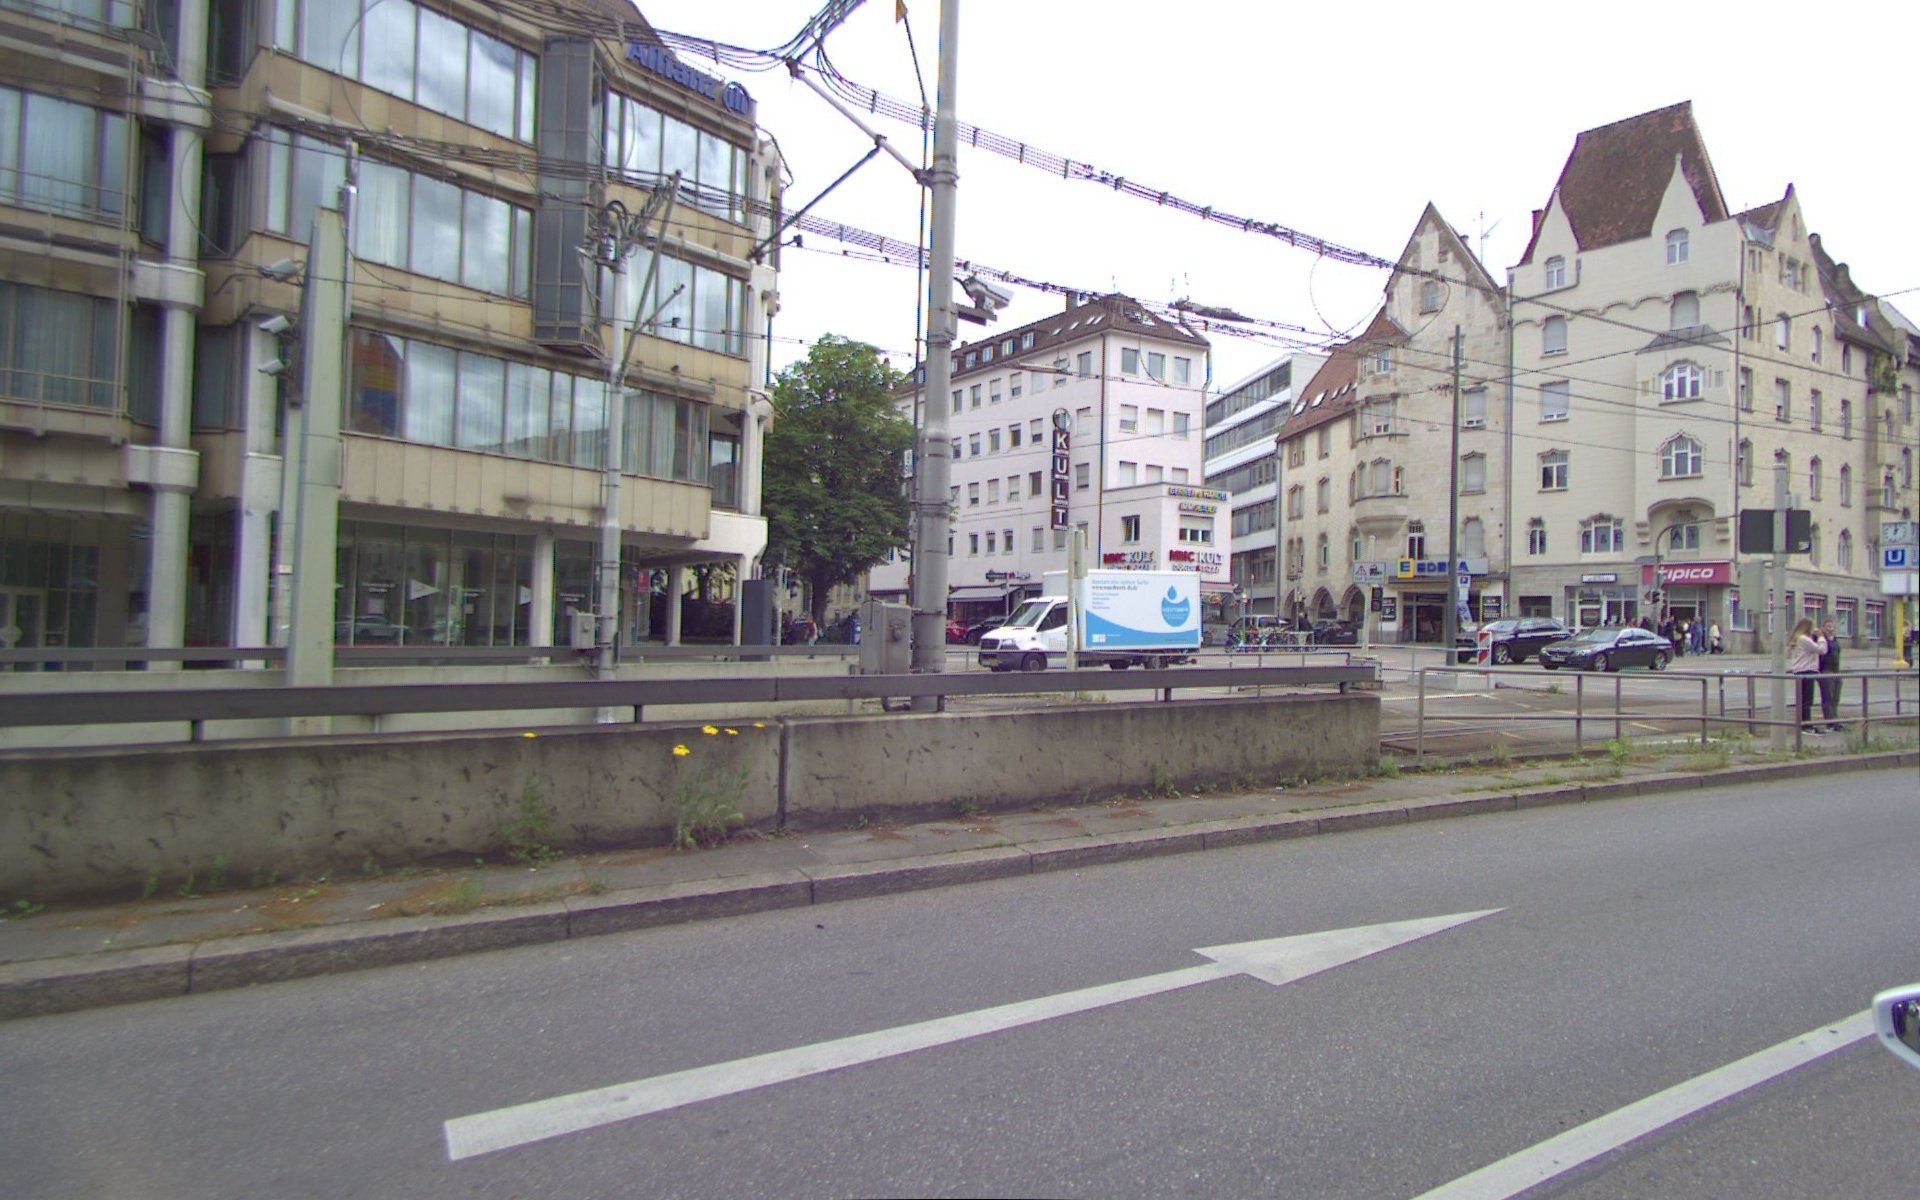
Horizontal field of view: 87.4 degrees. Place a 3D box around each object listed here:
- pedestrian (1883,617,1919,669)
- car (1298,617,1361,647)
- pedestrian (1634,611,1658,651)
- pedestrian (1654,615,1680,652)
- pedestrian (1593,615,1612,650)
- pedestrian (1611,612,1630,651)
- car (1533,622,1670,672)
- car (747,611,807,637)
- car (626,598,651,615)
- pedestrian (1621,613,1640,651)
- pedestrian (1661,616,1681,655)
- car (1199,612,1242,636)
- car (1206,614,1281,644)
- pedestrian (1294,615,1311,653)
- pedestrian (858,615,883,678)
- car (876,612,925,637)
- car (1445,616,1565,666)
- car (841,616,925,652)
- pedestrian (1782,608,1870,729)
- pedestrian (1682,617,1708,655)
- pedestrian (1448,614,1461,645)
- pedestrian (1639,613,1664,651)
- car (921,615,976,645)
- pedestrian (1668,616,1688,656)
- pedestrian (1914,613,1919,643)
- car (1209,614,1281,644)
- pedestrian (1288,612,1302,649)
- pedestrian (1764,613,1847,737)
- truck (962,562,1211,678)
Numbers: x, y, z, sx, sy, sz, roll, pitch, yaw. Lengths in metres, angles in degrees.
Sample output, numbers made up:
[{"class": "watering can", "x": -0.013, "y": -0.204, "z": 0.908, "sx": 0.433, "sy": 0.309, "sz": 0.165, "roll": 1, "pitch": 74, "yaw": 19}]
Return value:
[{"class": "pedestrian", "x": 31.918, "y": 1.453, "z": 33.864, "sx": 0.796, "sy": 1.728, "sz": 0.878, "roll": 0, "pitch": -1, "yaw": 1}, {"class": "car", "x": 21.429, "y": 1.876, "z": 58.334, "sx": 1.609, "sy": 1.706, "sz": 3.774, "roll": 0, "pitch": -3, "yaw": -13}, {"class": "pedestrian", "x": 31.212, "y": 1.390, "z": 45.708, "sx": 0.585, "sy": 1.803, "sz": 0.710, "roll": 1, "pitch": -1, "yaw": -12}, {"class": "pedestrian", "x": 33.612, "y": 1.605, "z": 47.778, "sx": 0.644, "sy": 1.728, "sz": 0.780, "roll": 1, "pitch": -1, "yaw": -22}, {"class": "pedestrian", "x": 29.700, "y": 1.485, "z": 46.412, "sx": 0.505, "sy": 1.603, "sz": 0.573, "roll": 1, "pitch": -1, "yaw": -27}, {"class": "pedestrian", "x": 30.908, "y": 1.465, "z": 46.976, "sx": 0.568, "sy": 1.803, "sz": 0.509, "roll": 1, "pitch": -1, "yaw": -22}, {"class": "car", "x": 21.409, "y": 1.537, "z": 33.506, "sx": 4.471, "sy": 1.573, "sz": 1.653, "roll": 1, "pitch": -1, "yaw": -23}, {"class": "car", "x": -13.033, "y": 1.677, "z": 71.461, "sx": 4.428, "sy": 1.734, "sz": 1.915, "roll": 0, "pitch": -1, "yaw": 42}, {"class": "car", "x": -33.705, "y": 0.697, "z": 105.246, "sx": 1.633, "sy": 1.734, "sz": 3.616, "roll": 1, "pitch": -1, "yaw": -33}, {"class": "pedestrian", "x": 31.516, "y": 1.501, "z": 47.198, "sx": 0.569, "sy": 1.803, "sz": 0.508, "roll": 1, "pitch": -1, "yaw": -26}, {"class": "pedestrian", "x": 32.898, "y": 1.628, "z": 46.497, "sx": 0.565, "sy": 1.803, "sz": 0.511, "roll": 0, "pitch": 0, "yaw": 3}, {"class": "car", "x": 19.866, "y": 1.865, "z": 76.723, "sx": 1.609, "sy": 1.768, "sz": 3.774, "roll": 0, "pitch": -3, "yaw": -13}, {"class": "car", "x": 16.262, "y": 1.634, "z": 57.801, "sx": 1.729, "sy": 1.581, "sz": 4.489, "roll": 1, "pitch": 0, "yaw": -23}, {"class": "pedestrian", "x": 16.322, "y": 1.602, "z": 47.857, "sx": 0.567, "sy": 1.803, "sz": 0.510, "roll": 1, "pitch": -1, "yaw": -16}, {"class": "pedestrian", "x": -2.622, "y": 1.346, "z": 29.282, "sx": 0.569, "sy": 1.803, "sz": 0.508, "roll": 1, "pitch": -1, "yaw": -26}, {"class": "car", "x": -3.866, "y": 1.550, "z": 64.818, "sx": 1.633, "sy": 1.553, "sz": 3.616, "roll": 1, "pitch": -1, "yaw": -33}, {"class": "car", "x": 20.649, "y": 1.544, "z": 38.006, "sx": 4.723, "sy": 1.782, "sz": 1.666, "roll": 1, "pitch": 0, "yaw": -29}, {"class": "car", "x": -3.691, "y": 1.588, "z": 47.807, "sx": 1.937, "sy": 1.550, "sz": 3.949, "roll": 1, "pitch": 0, "yaw": -43}, {"class": "pedestrian", "x": 12.959, "y": 0.999, "z": 15.037, "sx": 0.763, "sy": 1.744, "sz": 0.788, "roll": 1, "pitch": -1, "yaw": -29}, {"class": "pedestrian", "x": 33.712, "y": 1.644, "z": 46.075, "sx": 0.679, "sy": 1.699, "sz": 0.674, "roll": 1, "pitch": -1, "yaw": -10}, {"class": "pedestrian", "x": 29.131, "y": 1.754, "z": 59.181, "sx": 0.507, "sy": 1.803, "sz": 0.570, "roll": 1, "pitch": -1, "yaw": -42}, {"class": "pedestrian", "x": 32.500, "y": 1.500, "z": 47.228, "sx": 0.654, "sy": 1.803, "sz": 0.791, "roll": 0, "pitch": -1, "yaw": 3}, {"class": "car", "x": -0.743, "y": 1.761, "z": 60.286, "sx": 1.633, "sy": 1.734, "sz": 3.616, "roll": 1, "pitch": -1, "yaw": -33}, {"class": "pedestrian", "x": 32.252, "y": 1.607, "z": 45.114, "sx": 0.567, "sy": 1.803, "sz": 0.510, "roll": 1, "pitch": -1, "yaw": -14}, {"class": "pedestrian", "x": 56.905, "y": 1.636, "z": 59.267, "sx": 0.616, "sy": 1.786, "sz": 0.846, "roll": 0, "pitch": -1, "yaw": 19}, {"class": "car", "x": 16.379, "y": 1.641, "z": 57.942, "sx": 1.727, "sy": 1.581, "sz": 4.495, "roll": 1, "pitch": 0, "yaw": -19}, {"class": "pedestrian", "x": 16.466, "y": 1.510, "z": 49.395, "sx": 0.501, "sy": 1.803, "sz": 0.577, "roll": 0, "pitch": -1, "yaw": -2}, {"class": "pedestrian", "x": 12.375, "y": 1.073, "z": 14.716, "sx": 0.629, "sy": 1.744, "sz": 0.761, "roll": 1, "pitch": -1, "yaw": -28}, {"class": "truck", "x": 3.823, "y": 0.600, "z": 29.665, "sx": 7.280, "sy": 3.117, "sz": 2.258, "roll": 1, "pitch": 0, "yaw": -28}]
